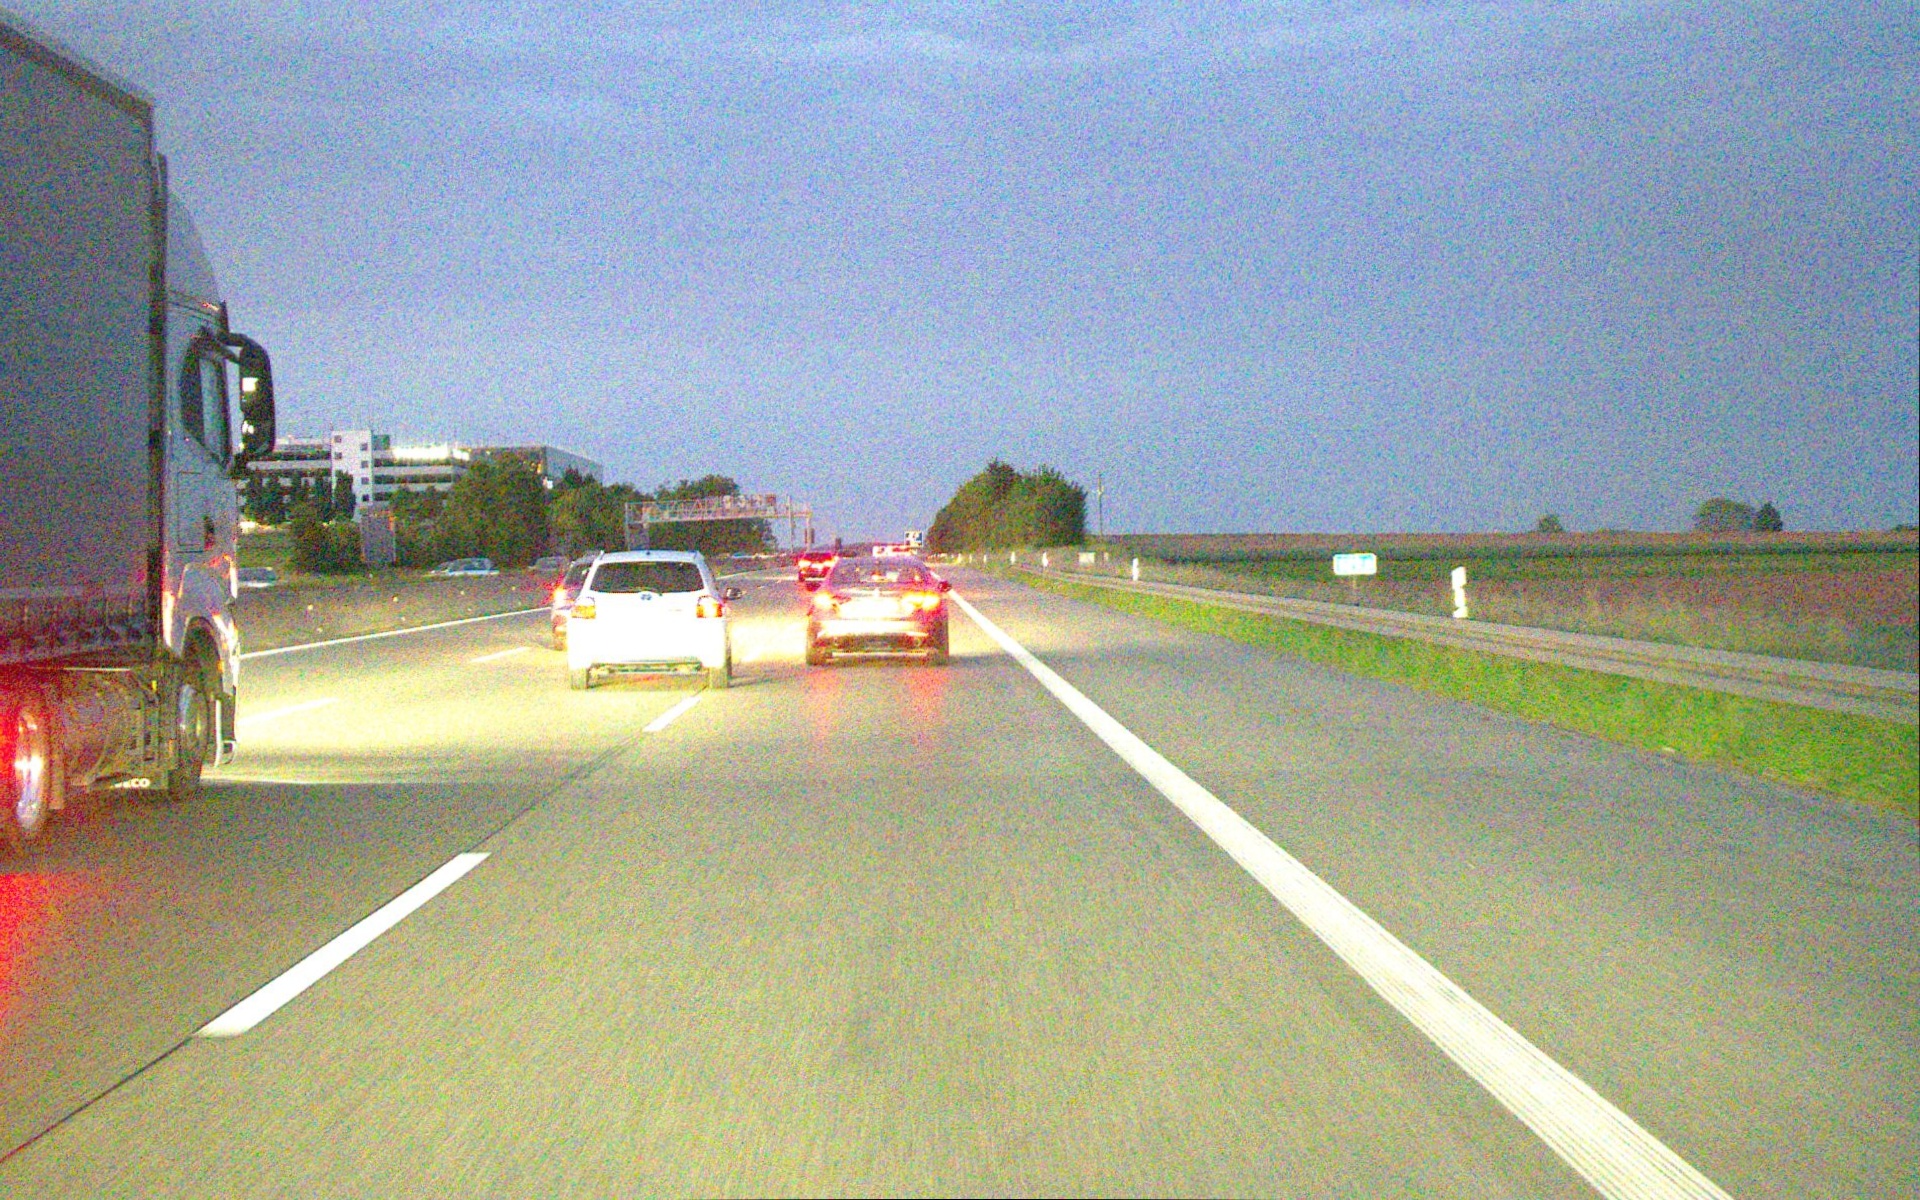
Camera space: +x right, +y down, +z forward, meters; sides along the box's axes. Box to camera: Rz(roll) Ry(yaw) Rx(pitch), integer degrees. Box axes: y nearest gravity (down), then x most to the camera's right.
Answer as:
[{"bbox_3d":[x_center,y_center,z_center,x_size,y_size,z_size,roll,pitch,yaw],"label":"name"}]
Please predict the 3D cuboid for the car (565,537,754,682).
[{"bbox_3d":[-3.318,0.085,38.628,1.744,1.519,4.414,1,0,0],"label":"car"}]

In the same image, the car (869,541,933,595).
[{"bbox_3d":[-1.787,-0.963,103.257,1.880,1.547,4.000,1,0,-2],"label":"car"}]

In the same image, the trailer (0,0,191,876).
[{"bbox_3d":[-5.753,-0.751,12.163,2.794,4.071,14.526,0,0,0],"label":"trailer"}]

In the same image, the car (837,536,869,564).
[{"bbox_3d":[-7.514,-3.506,241.895,2.199,1.873,4.000,1,0,-1],"label":"car"}]

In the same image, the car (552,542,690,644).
[{"bbox_3d":[-5.143,-0.120,52.605,1.722,1.466,4.726,1,0,-1],"label":"car"}]

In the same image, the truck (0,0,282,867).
[{"bbox_3d":[-5.756,-0.811,19.003,2.777,4.079,6.103,0,0,0],"label":"truck"}]

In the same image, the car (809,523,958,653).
[{"bbox_3d":[-1.013,-0.172,46.010,1.880,1.637,4.000,1,0,-1],"label":"car"}]

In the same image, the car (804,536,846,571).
[{"bbox_3d":[-6.187,-2.137,157.691,1.880,1.547,4.000,1,0,-2],"label":"car"}]
